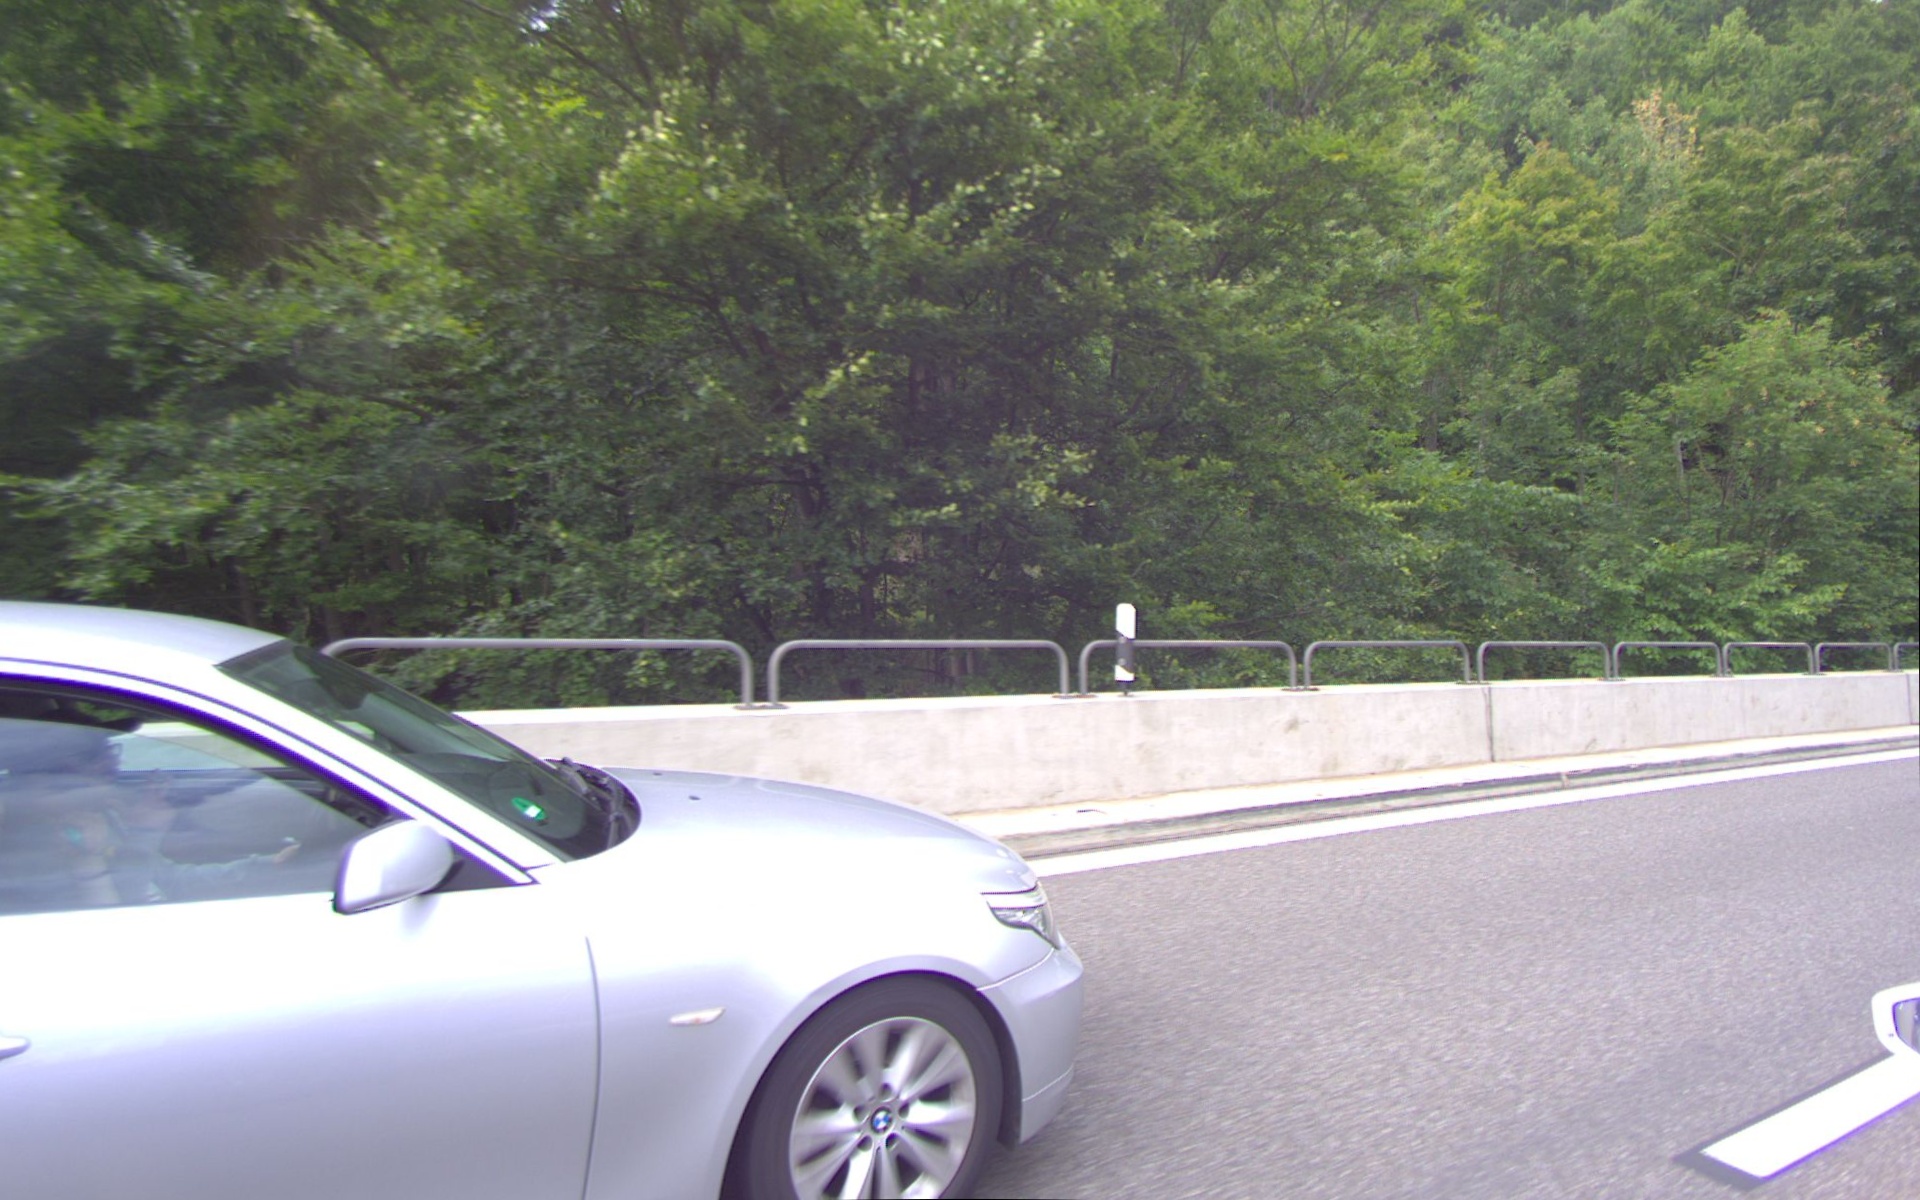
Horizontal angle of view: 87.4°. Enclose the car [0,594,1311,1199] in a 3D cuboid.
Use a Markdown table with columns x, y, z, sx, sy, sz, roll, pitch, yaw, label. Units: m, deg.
| x | y | z | sx | sy | sz | roll | pitch | yaw | label |
| --- | --- | --- | --- | --- | --- | --- | --- | --- | --- |
| -1.676 | 0.738 | 2.311 | 5.074 | 1.476 | 1.819 | 2 | -1 | -30 | car |
